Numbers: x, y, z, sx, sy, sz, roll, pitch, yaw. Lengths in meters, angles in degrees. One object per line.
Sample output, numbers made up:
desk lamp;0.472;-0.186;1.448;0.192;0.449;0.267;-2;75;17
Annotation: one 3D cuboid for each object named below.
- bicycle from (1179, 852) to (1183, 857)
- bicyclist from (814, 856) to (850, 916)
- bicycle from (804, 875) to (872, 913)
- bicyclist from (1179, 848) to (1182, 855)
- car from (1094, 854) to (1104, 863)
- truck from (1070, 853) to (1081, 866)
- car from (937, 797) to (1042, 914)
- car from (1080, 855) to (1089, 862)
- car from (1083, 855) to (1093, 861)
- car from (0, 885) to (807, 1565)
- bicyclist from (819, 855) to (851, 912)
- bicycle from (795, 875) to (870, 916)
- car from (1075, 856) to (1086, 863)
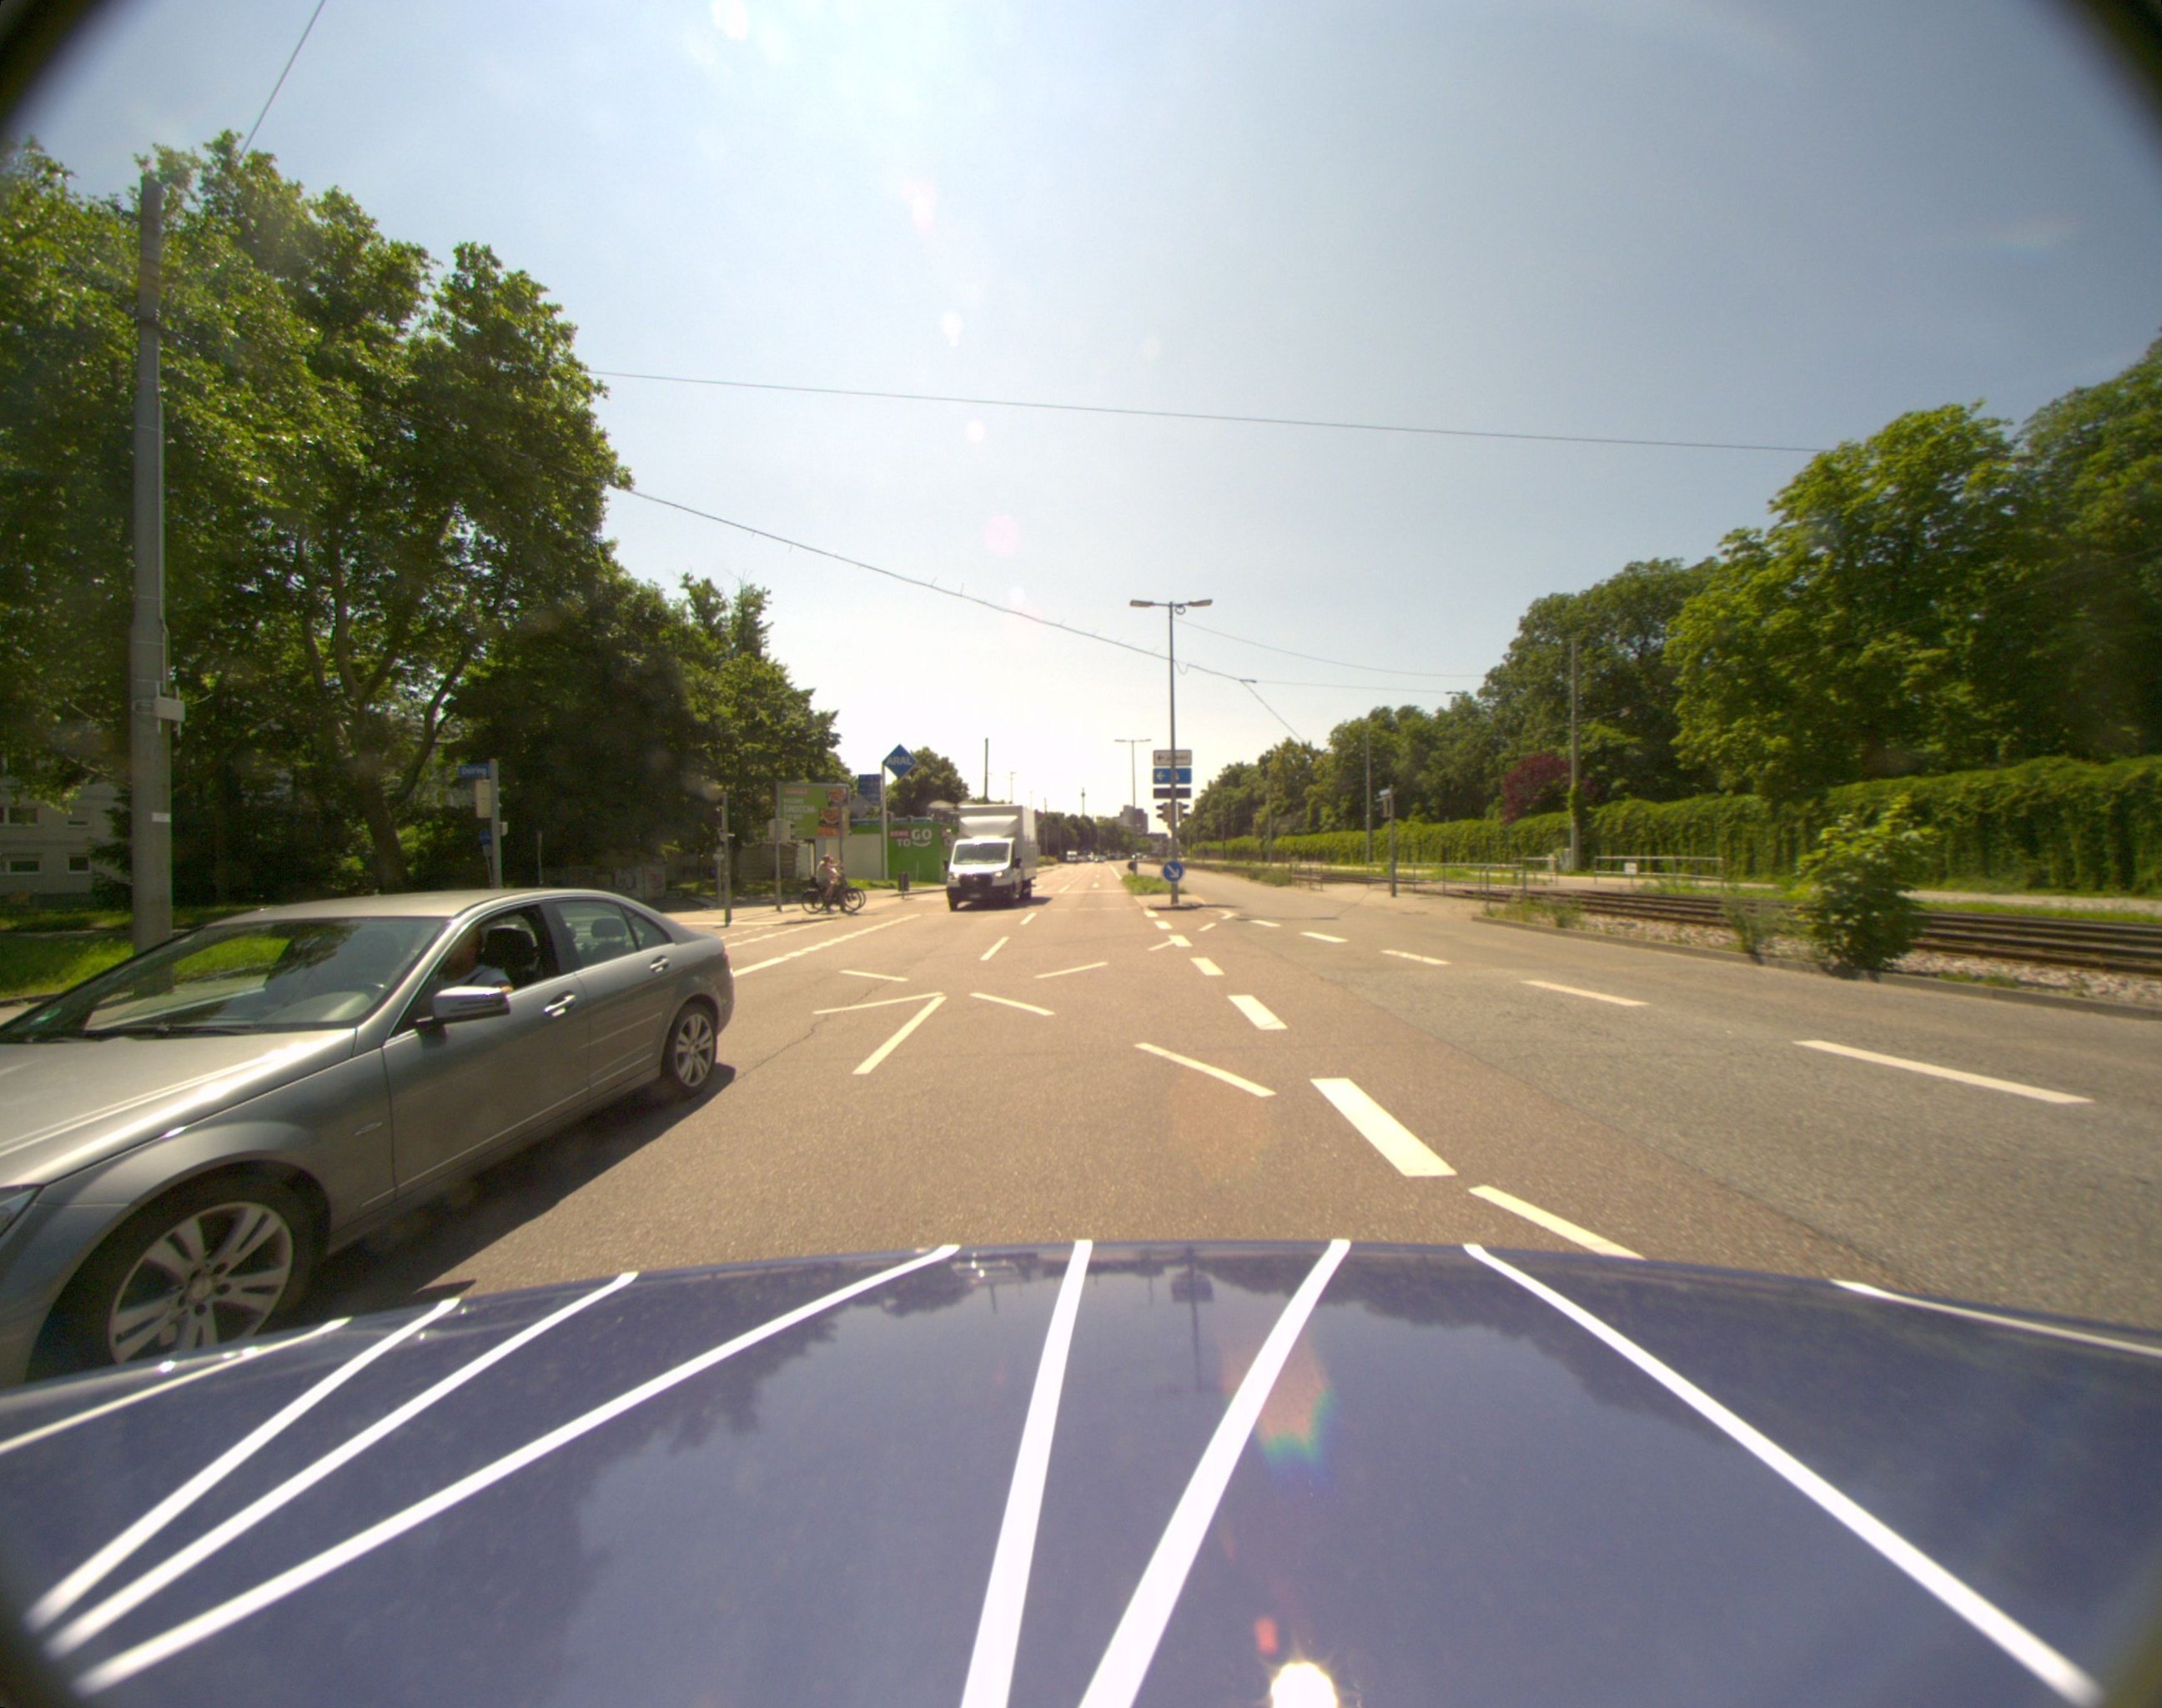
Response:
bicycle;21.311;0.059;161.896;0.617;1.049;1.978;-3;1;3
bicyclist;-7.637;0.960;23.341;0.726;1.777;0.976;-2;1;-2
bicycle;-7.882;1.292;24.669;1.870;1.118;0.895;-2;1;9
bicyclist;21.266;-0.501;161.852;0.483;1.603;0.769;-3;1;3
car;3.558;0.867;152.641;1.947;1.674;3.999;-3;1;0
truck;-1.093;1.103;153.001;1.998;2.461;5.237;-3;1;2
car;-2.892;0.003;26.439;2.229;3.316;8.636;-2;1;2
car;0.850;1.060;178.968;1.912;1.488;4.001;-3;1;5
car;1.747;0.983;188.391;1.912;1.488;4.001;-3;1;5
car;-3.410;1.036;4.085;1.717;1.464;5.302;-3;0;2
bicyclist;-7.963;0.940;24.622;0.578;1.777;0.768;-3;1;9
bicycle;-7.588;1.255;23.267;1.955;1.152;0.895;-2;1;-2
car;-0.101;1.178;172.222;1.912;1.488;4.001;-3;1;5
